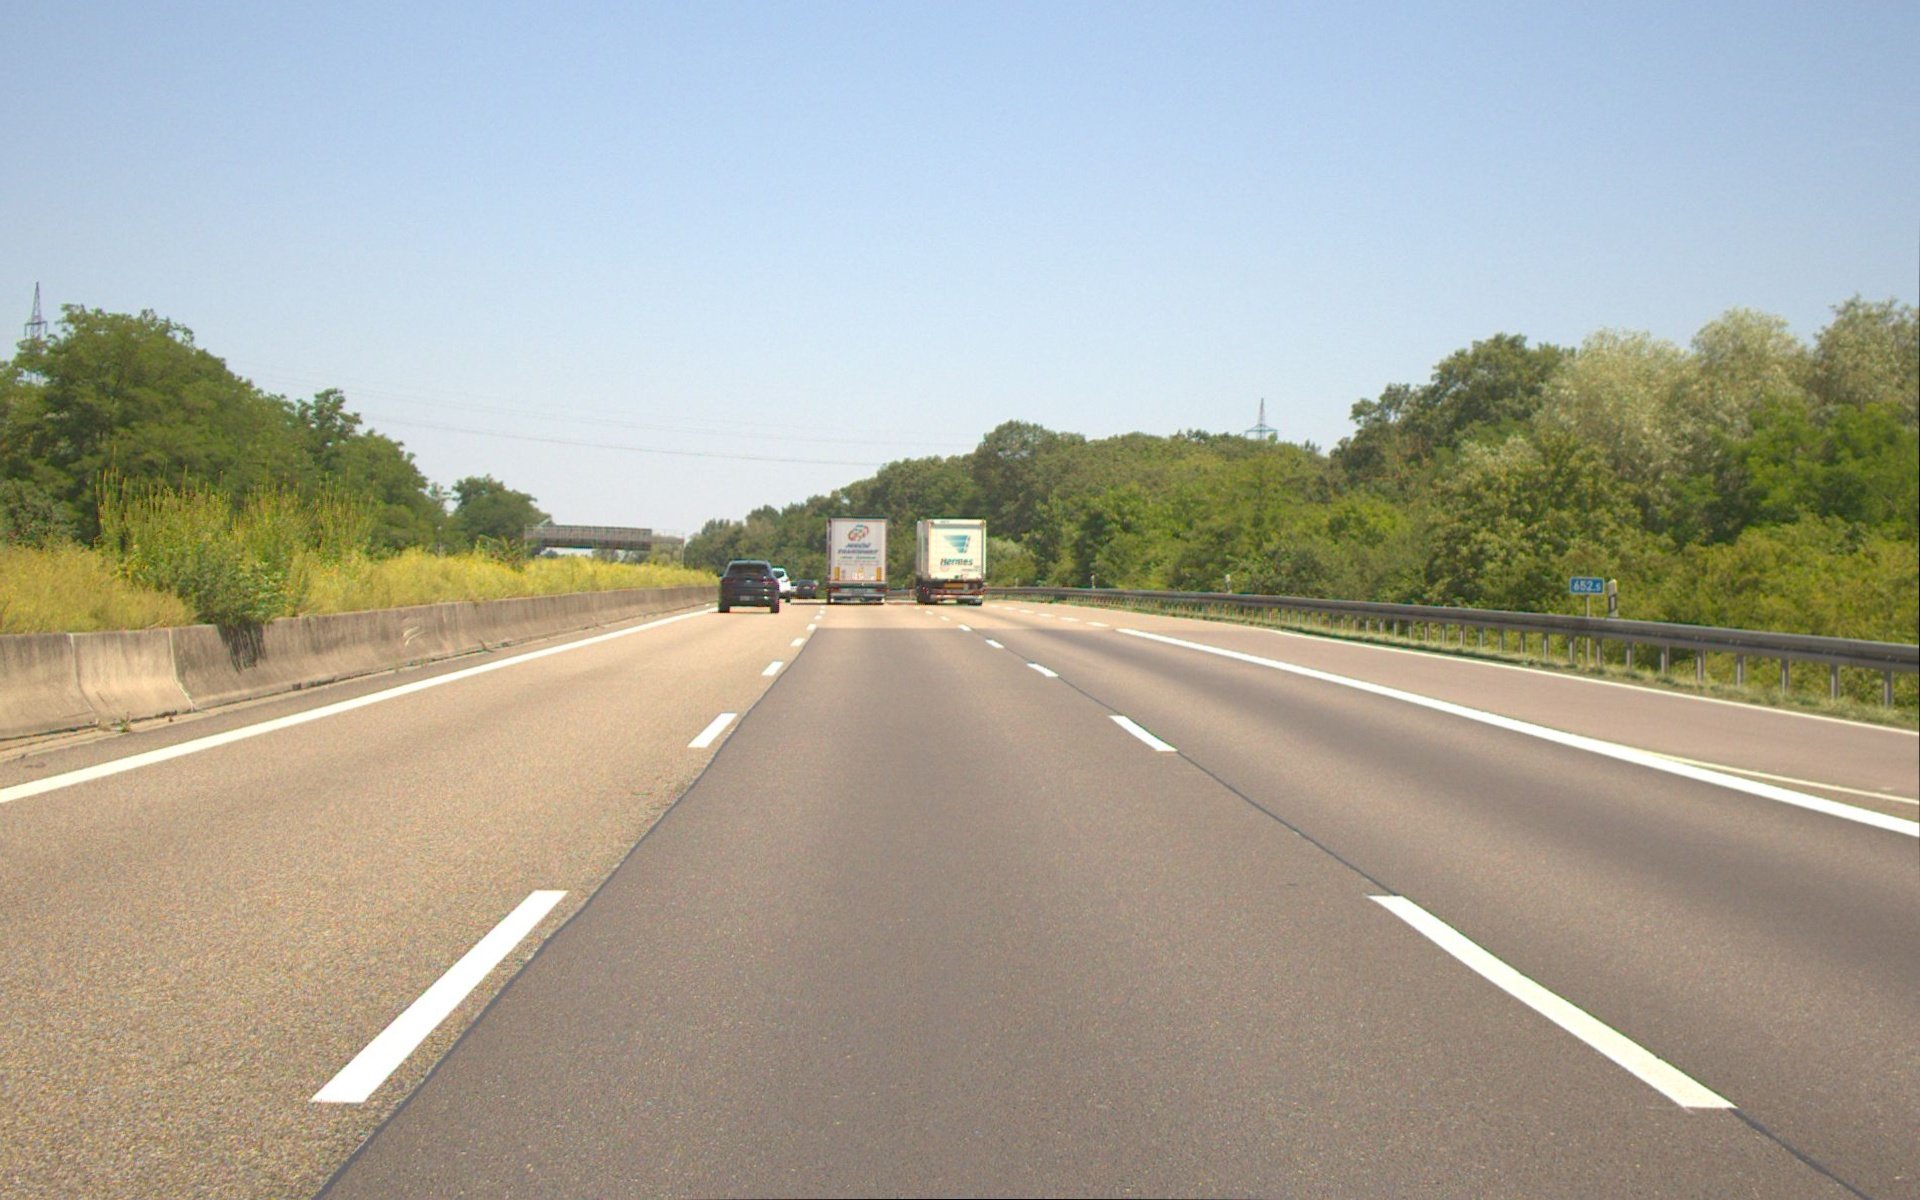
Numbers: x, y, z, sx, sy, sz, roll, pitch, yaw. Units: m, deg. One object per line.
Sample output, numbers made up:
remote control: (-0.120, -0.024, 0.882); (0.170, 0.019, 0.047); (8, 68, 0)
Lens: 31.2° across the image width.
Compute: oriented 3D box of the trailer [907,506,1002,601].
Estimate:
trailer: (-0.314, -2.139, 156.982); (3.367, 4.128, 9.093); (1, 1, -6)

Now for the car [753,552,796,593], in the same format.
car: (-8.991, -1.358, 166.355); (1.993, 1.868, 4.001); (2, 1, -4)

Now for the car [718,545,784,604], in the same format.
car: (-6.927, -0.859, 114.236); (1.993, 1.868, 4.000); (1, 1, -1)

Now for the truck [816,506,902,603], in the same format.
truck: (-4.557, -2.050, 153.578); (3.229, 4.188, 8.467); (1, 1, -5)
